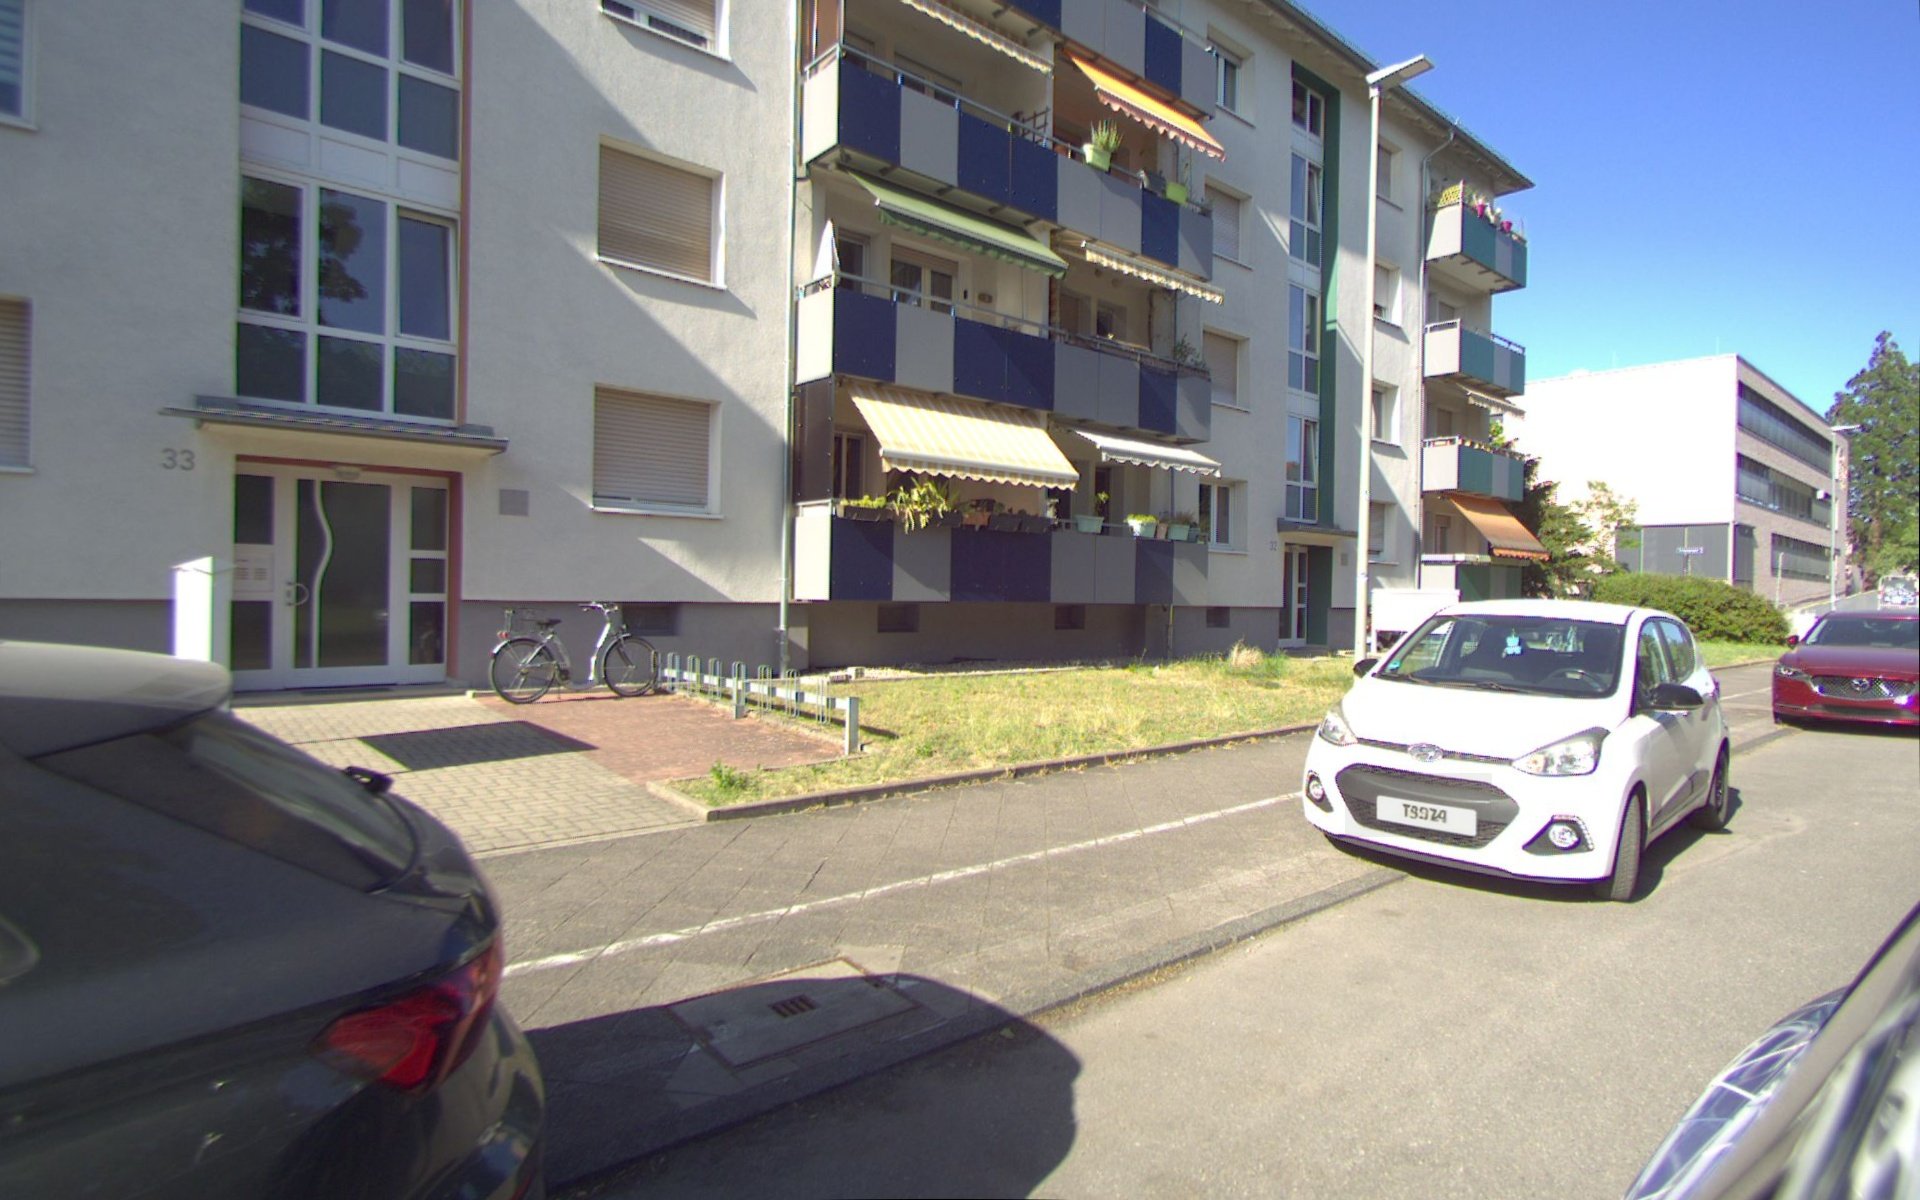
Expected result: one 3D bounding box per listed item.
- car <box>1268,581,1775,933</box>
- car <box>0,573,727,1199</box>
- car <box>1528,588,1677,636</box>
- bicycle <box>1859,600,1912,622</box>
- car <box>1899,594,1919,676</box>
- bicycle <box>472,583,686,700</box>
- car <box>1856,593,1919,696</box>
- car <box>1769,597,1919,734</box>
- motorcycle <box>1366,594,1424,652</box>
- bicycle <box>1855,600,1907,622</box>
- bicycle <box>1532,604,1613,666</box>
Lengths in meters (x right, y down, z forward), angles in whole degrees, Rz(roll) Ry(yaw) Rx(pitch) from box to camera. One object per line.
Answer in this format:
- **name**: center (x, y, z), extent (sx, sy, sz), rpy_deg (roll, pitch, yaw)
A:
- **car**: center (3.725, 0.679, 6.411), extent (3.797, 1.517, 1.750), rpy_deg (0, 2, -44)
- **car**: center (-2.586, 0.709, 0.814), extent (4.395, 1.453, 1.702), rpy_deg (0, 3, -42)
- **car**: center (24.057, 0.414, 38.009), extent (1.881, 1.644, 4.413), rpy_deg (0, 1, -42)
- **bicycle**: center (53.244, 0.611, 58.225), extent (0.844, 1.077, 2.085), rpy_deg (0, 3, -39)
- **car**: center (20.280, 0.686, 20.108), extent (4.475, 1.549, 1.774), rpy_deg (0, 1, -39)
- **bicycle**: center (-3.860, 0.388, 10.381), extent (1.975, 1.084, 0.524), rpy_deg (0, 3, -42)
- **car**: center (16.225, 0.680, 16.650), extent (4.419, 1.553, 1.875), rpy_deg (0, 1, -44)
- **car**: center (12.209, 0.730, 13.111), extent (4.977, 1.491, 1.846), rpy_deg (0, 1, -41)
- **motorcycle**: center (9.339, 0.470, 21.680), extent (0.582, 1.166, 2.008), rpy_deg (1, 1, 40)
- **bicycle**: center (52.258, 0.598, 57.431), extent (0.867, 1.076, 2.029), rpy_deg (0, 4, -41)
- **bicycle**: center (11.603, 0.632, 19.150), extent (1.862, 1.091, 0.721), rpy_deg (0, 1, -39)
